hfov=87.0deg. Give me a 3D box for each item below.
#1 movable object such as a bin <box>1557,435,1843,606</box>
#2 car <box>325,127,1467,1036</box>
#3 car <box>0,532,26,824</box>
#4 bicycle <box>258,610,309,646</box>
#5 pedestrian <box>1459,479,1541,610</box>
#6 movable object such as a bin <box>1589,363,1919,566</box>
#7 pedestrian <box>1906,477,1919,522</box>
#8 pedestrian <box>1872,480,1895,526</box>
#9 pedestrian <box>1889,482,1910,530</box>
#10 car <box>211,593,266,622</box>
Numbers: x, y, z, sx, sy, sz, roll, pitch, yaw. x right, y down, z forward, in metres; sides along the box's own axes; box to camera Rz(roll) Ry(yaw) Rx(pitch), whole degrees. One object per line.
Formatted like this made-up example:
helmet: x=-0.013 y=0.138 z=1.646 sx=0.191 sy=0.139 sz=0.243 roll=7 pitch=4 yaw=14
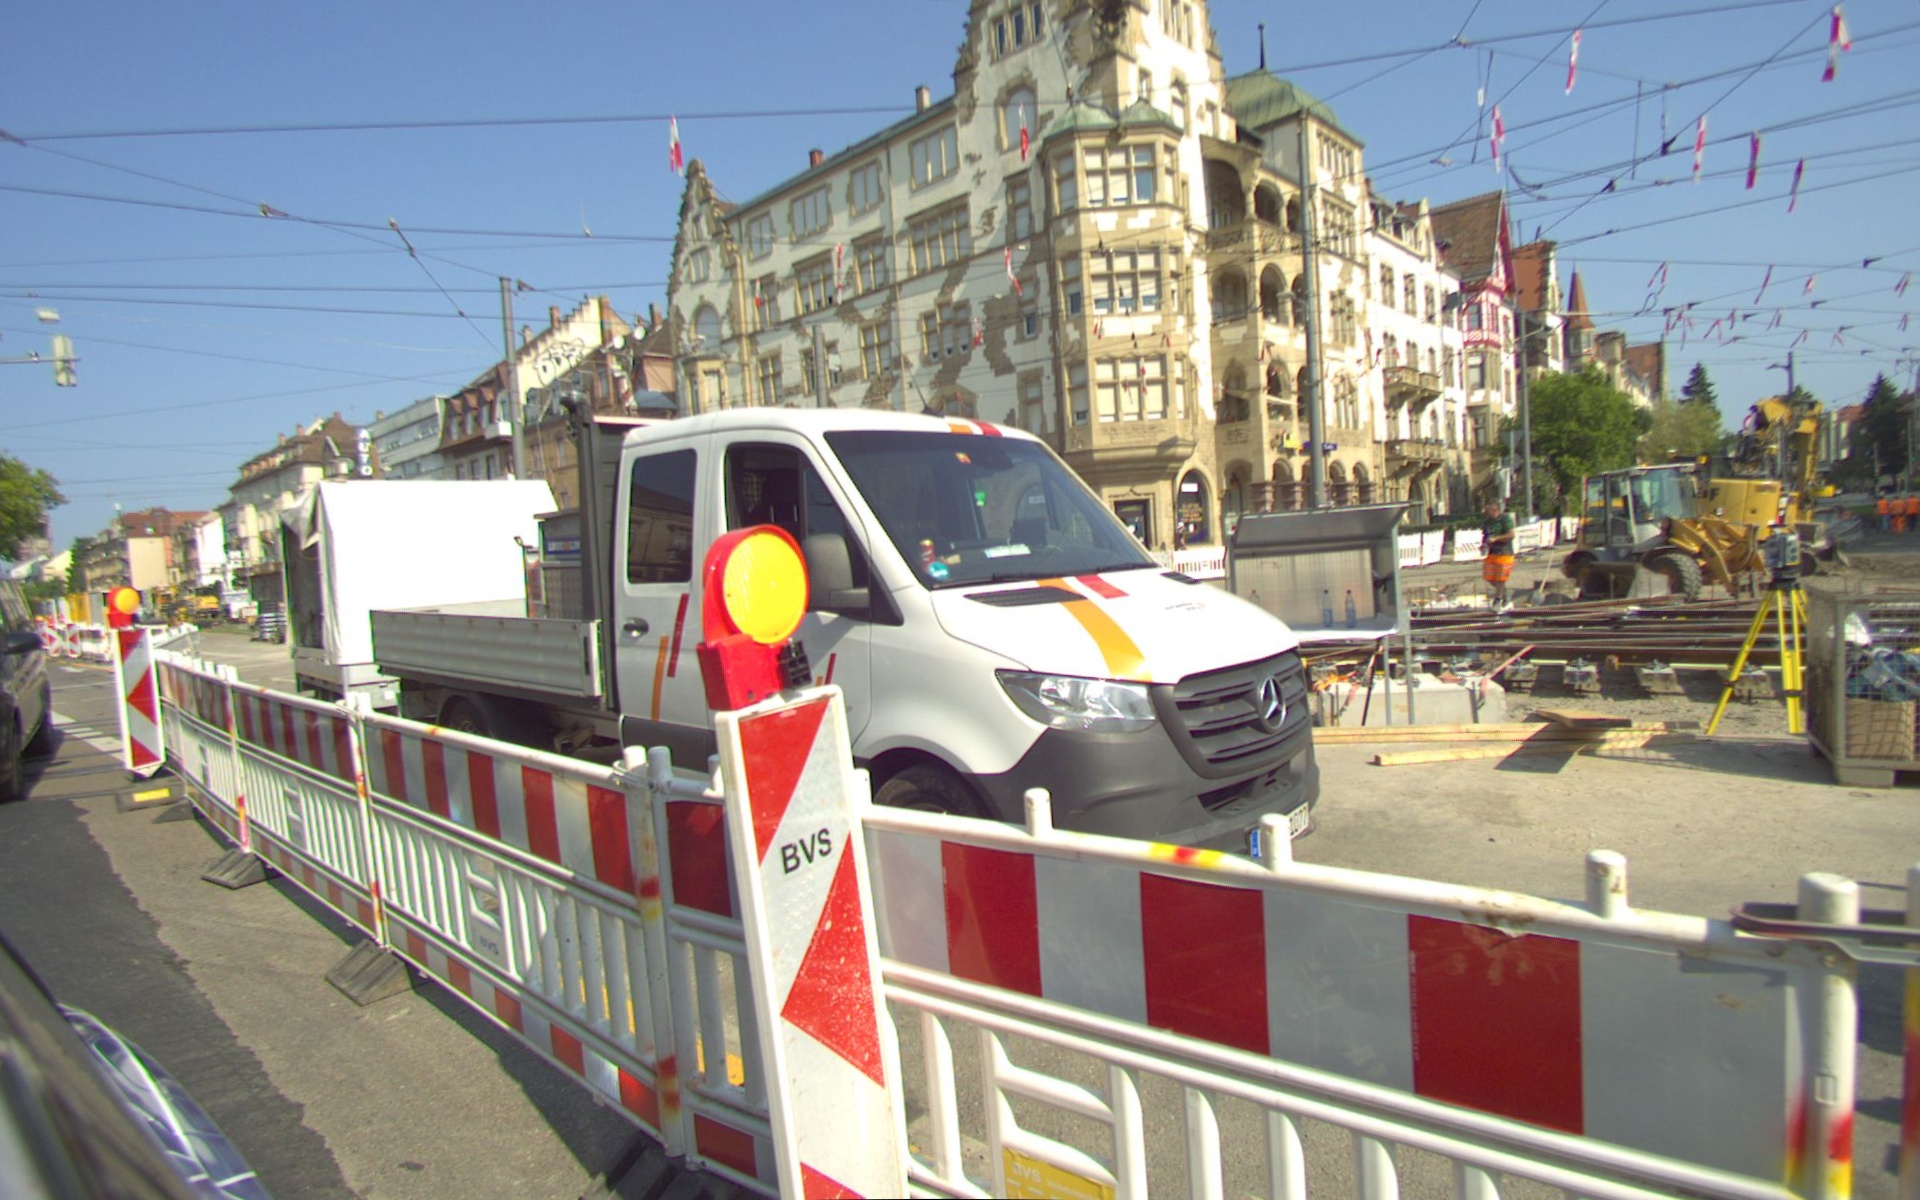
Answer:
movable object such as a bin: x=14.458 y=-1.527 z=20.243 sx=2.419 sy=2.855 sz=4.809 roll=-3 pitch=3 yaw=6
car: x=-1.251 y=-0.063 z=5.953 sx=7.198 sy=2.441 sz=2.185 roll=-1 pitch=4 yaw=42
car: x=-8.333 y=0.581 z=7.476 sx=4.180 sy=1.900 sz=1.828 roll=-1 pitch=2 yaw=44
bicycle: x=-21.918 y=0.907 z=32.776 sx=1.963 sy=1.106 sz=0.558 roll=-1 pitch=5 yaw=34
pedestrian: x=8.304 y=-0.847 z=15.573 sx=0.710 sy=1.926 sz=0.791 roll=-5 pitch=3 yaw=-26
movable object such as a bin: x=20.677 y=-3.306 z=26.075 sx=7.260 sy=4.378 sz=4.983 roll=-6 pitch=4 yaw=-33
pedestrian: x=44.347 y=-4.661 z=46.881 sx=0.635 sy=2.028 sz=0.672 roll=-2 pitch=4 yaw=33
pedestrian: x=42.969 y=-4.512 z=47.074 sx=0.635 sy=2.028 sz=0.672 roll=-2 pitch=4 yaw=32
pedestrian: x=41.179 y=-4.113 z=44.353 sx=0.637 sy=2.028 sz=0.669 roll=-1 pitch=4 yaw=43
car: x=-60.269 y=0.621 z=84.479 sx=7.123 sy=2.150 sz=2.335 roll=-1 pitch=4 yaw=44
